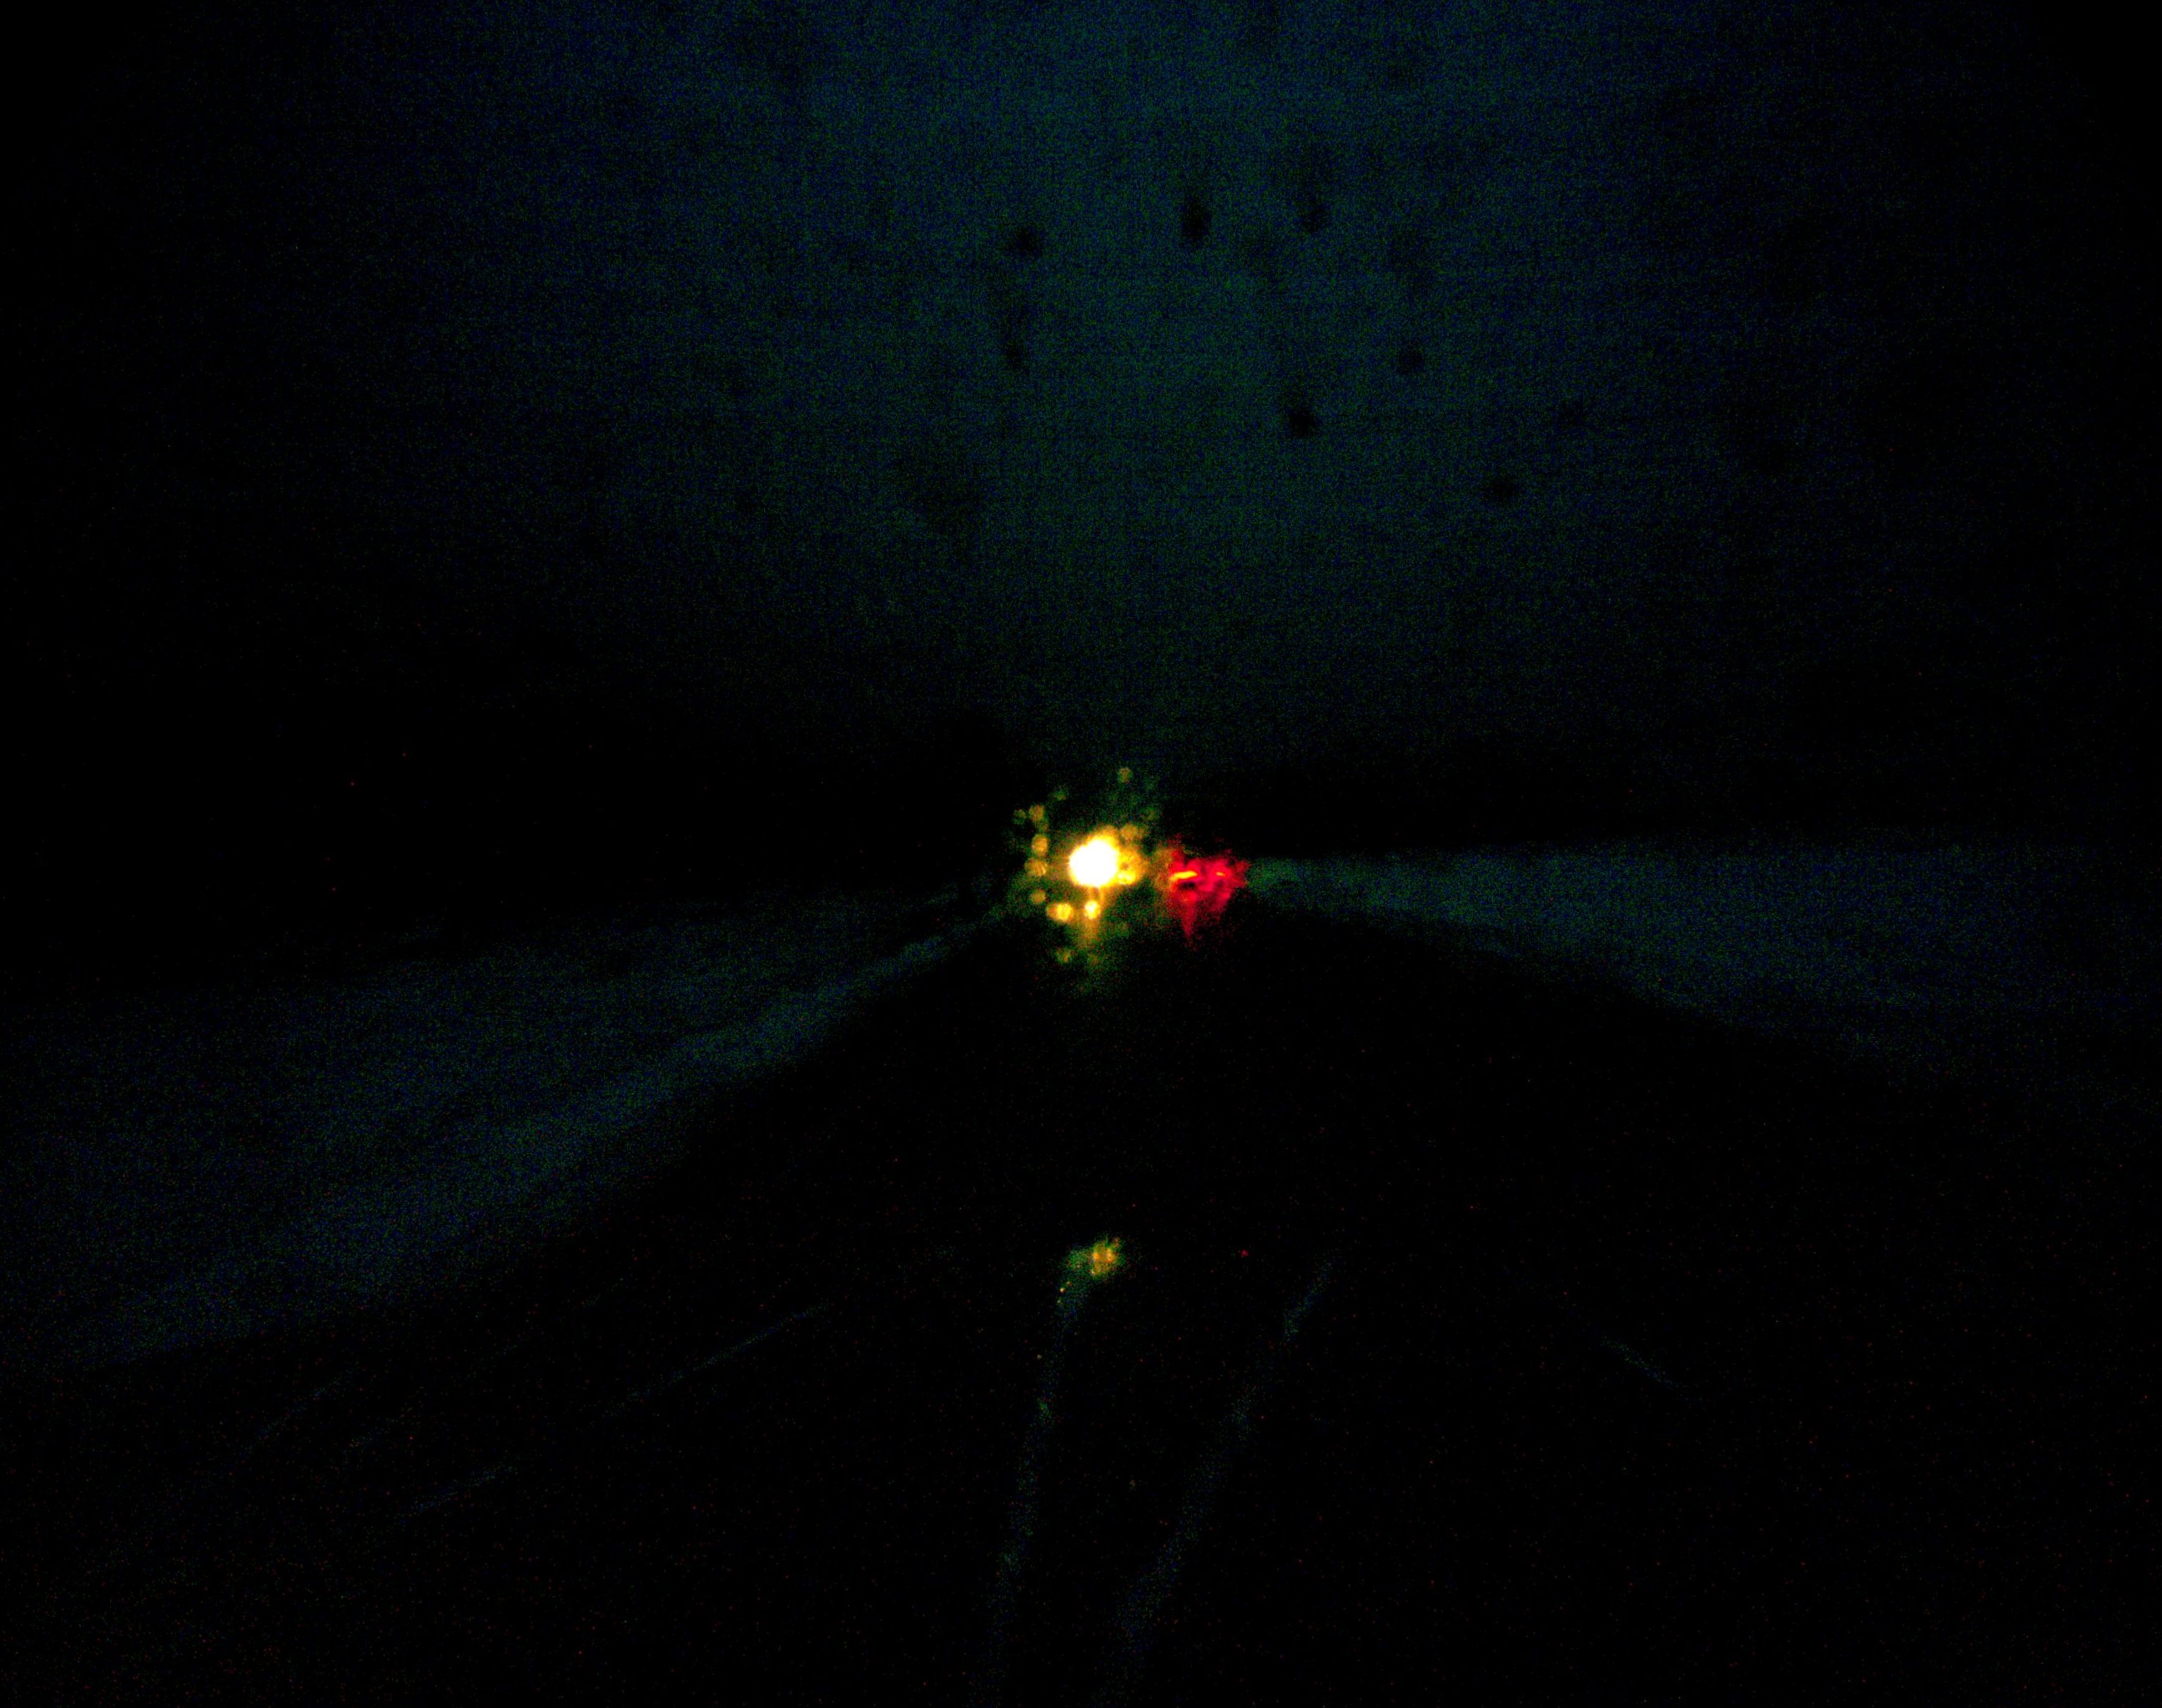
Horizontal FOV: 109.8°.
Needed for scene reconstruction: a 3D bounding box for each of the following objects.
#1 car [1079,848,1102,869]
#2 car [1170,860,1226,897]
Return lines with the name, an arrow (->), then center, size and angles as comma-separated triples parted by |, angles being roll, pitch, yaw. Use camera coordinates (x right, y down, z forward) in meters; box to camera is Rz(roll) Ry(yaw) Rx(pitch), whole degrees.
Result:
car -> 1.045, 0.476, 80.409 | 1.998, 2.002, 4.001 | -5, 1, 4
car -> 4.748, 0.960, 31.222 | 1.732, 1.338, 4.222 | 0, 0, 1
